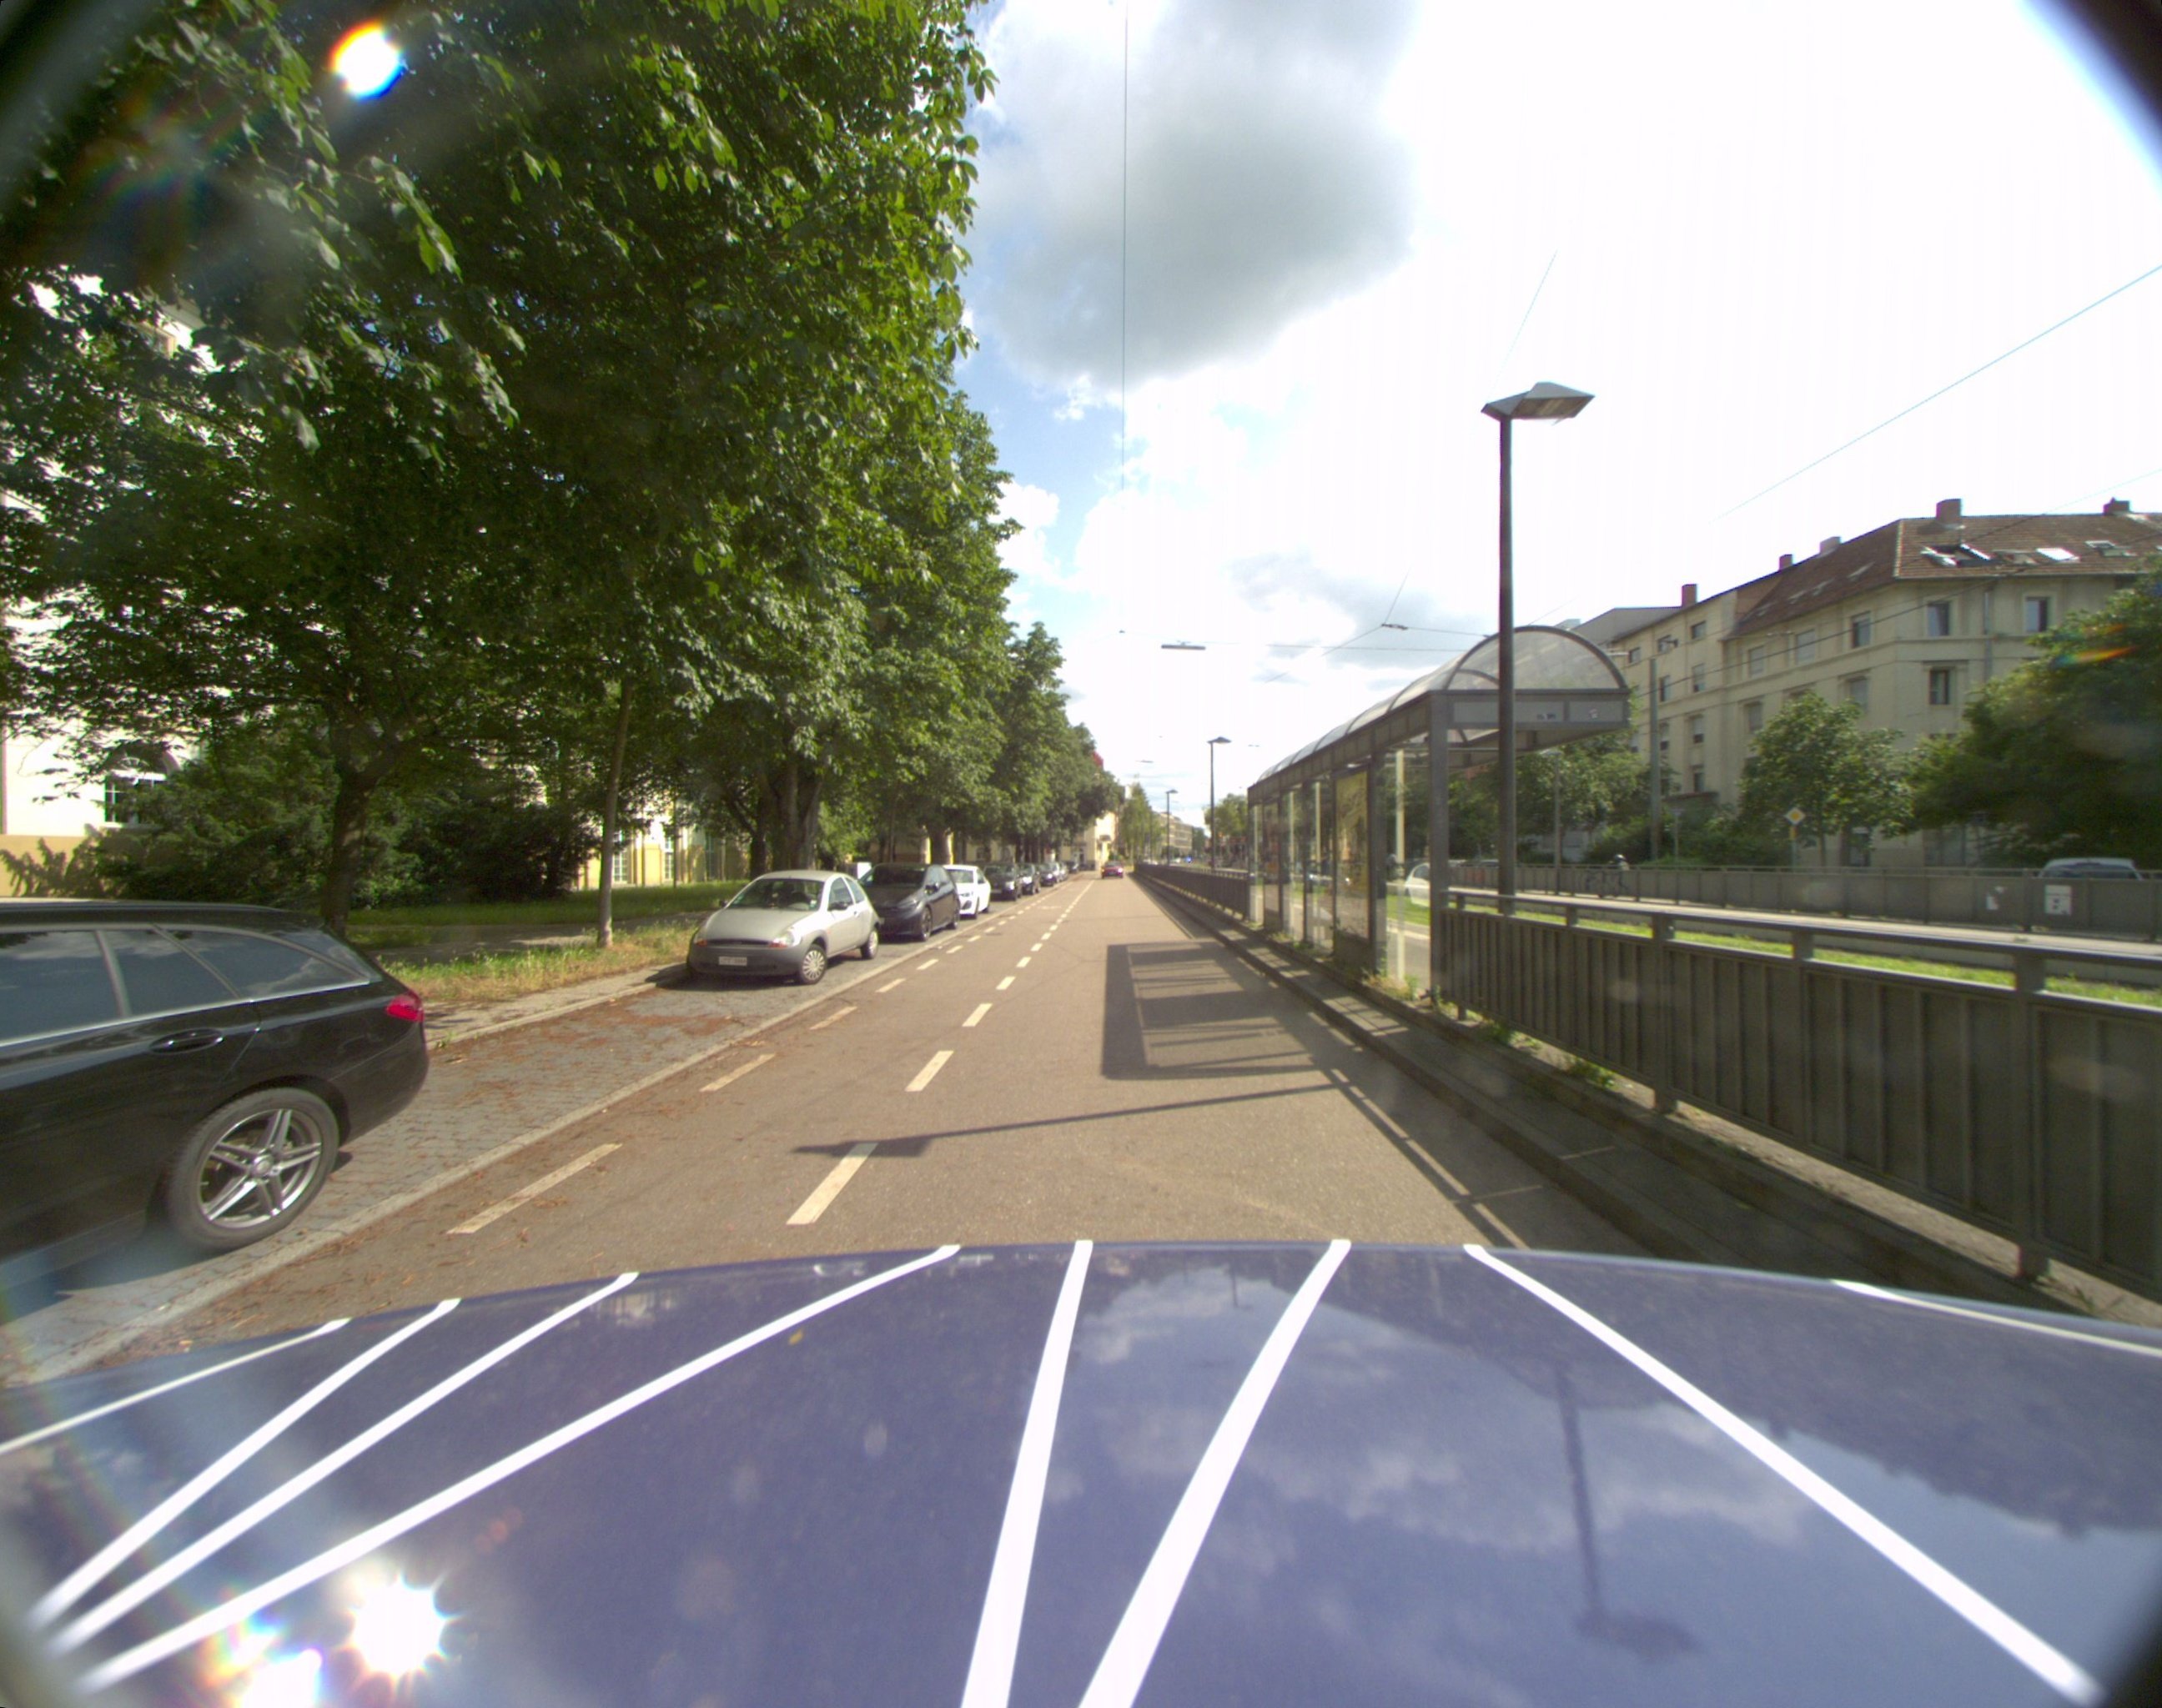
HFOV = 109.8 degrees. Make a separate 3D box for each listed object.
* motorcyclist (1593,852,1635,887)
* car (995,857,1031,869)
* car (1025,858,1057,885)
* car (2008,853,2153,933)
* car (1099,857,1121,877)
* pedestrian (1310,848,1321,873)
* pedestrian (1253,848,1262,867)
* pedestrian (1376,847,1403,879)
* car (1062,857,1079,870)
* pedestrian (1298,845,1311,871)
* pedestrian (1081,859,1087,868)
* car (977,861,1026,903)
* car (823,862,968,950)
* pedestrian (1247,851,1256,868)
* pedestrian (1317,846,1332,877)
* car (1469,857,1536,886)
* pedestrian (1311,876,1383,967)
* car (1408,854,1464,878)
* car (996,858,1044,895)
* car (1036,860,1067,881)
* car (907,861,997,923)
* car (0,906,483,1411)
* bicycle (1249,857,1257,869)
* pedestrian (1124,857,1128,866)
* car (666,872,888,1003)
[{"bbox_3d":[20.527,0.603,29.304,0.940,1.331,0.987,0,0,3],"label":"motorcyclist"},{"bbox_3d":[-9.638,1.270,107.854,4.827,1.646,1.858,-1,2,12],"label":"car"},{"bbox_3d":[-2.429,1.072,47.417,1.836,1.458,4.829,2,1,-1],"label":"car"},{"bbox_3d":[23.173,0.838,17.592,4.007,1.630,1.823,0,-1,-35],"label":"car"},{"bbox_3d":[2.392,1.032,62.758,1.790,1.499,4.000,-2,0,2],"label":"car"},{"bbox_3d":[15.886,0.435,51.490,0.608,1.664,0.625,-1,1,2],"label":"pedestrian"},{"bbox_3d":[16.280,0.334,70.229,0.640,1.714,0.798,0,1,0],"label":"pedestrian"},{"bbox_3d":[15.416,0.432,37.961,0.991,1.569,0.798,0,1,-1],"label":"pedestrian"},{"bbox_3d":[-1.116,1.071,85.801,1.689,1.379,3.924,1,1,2],"label":"car"},{"bbox_3d":[15.149,0.287,51.421,0.607,1.744,0.626,1,2,43],"label":"pedestrian"},{"bbox_3d":[0.459,1.324,109.447,0.804,1.238,0.892,-1,2,5],"label":"pedestrian"},{"bbox_3d":[-3.161,1.069,30.637,1.559,1.452,3.558,3,1,0],"label":"car"},{"bbox_3d":[-3.761,0.976,16.307,1.729,1.574,4.678,1,0,3],"label":"car"},{"bbox_3d":[16.851,0.504,75.024,0.667,1.689,0.798,0,1,0],"label":"pedestrian"},{"bbox_3d":[14.979,0.479,46.785,0.752,1.881,0.639,-1,3,4],"label":"pedestrian"},{"bbox_3d":[24.352,0.950,43.841,4.161,1.556,1.921,0,1,-38],"label":"car"},{"bbox_3d":[3.337,0.814,9.526,0.662,1.066,0.725,-1,-1,37],"label":"pedestrian"},{"bbox_3d":[24.987,0.805,53.496,4.144,1.630,1.829,0,1,-37],"label":"car"},{"bbox_3d":[-2.801,1.017,35.823,1.694,1.552,4.308,2,0,2],"label":"car"},{"bbox_3d":[-2.019,1.133,53.351,1.639,1.423,4.016,2,0,5],"label":"car"},{"bbox_3d":[-3.593,1.000,21.906,1.840,1.514,4.253,2,0,0],"label":"car"},{"bbox_3d":[-4.403,1.028,1.905,1.922,1.433,4.797,2,0,1],"label":"car"},{"bbox_3d":[15.863,0.805,70.227,0.662,1.107,1.879,1,0,11],"label":"bicycle"},{"bbox_3d":[7.783,1.290,132.565,0.593,1.622,0.538,2,0,5],"label":"pedestrian"},{"bbox_3d":[-4.105,1.038,10.904,1.594,1.436,3.598,1,0,3],"label":"car"}]
